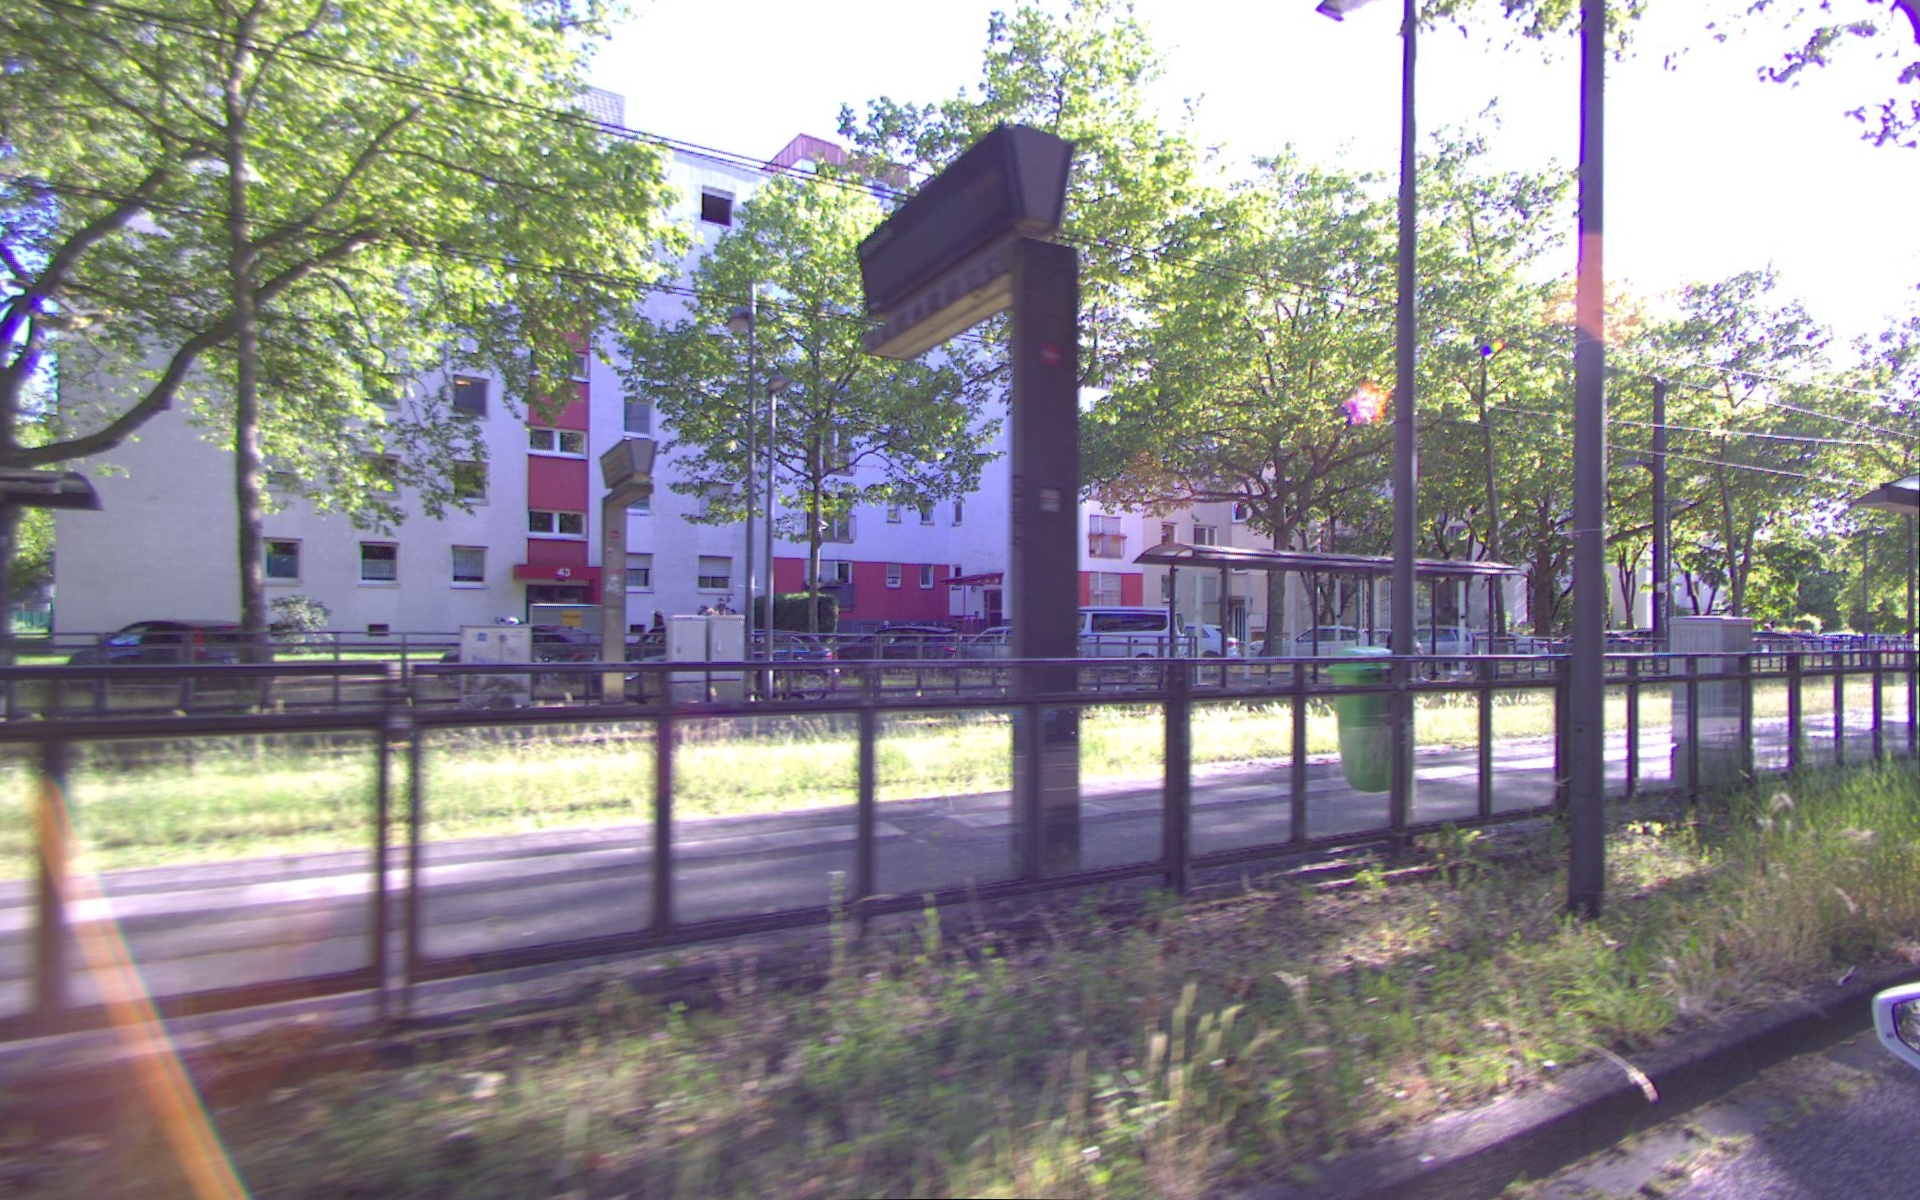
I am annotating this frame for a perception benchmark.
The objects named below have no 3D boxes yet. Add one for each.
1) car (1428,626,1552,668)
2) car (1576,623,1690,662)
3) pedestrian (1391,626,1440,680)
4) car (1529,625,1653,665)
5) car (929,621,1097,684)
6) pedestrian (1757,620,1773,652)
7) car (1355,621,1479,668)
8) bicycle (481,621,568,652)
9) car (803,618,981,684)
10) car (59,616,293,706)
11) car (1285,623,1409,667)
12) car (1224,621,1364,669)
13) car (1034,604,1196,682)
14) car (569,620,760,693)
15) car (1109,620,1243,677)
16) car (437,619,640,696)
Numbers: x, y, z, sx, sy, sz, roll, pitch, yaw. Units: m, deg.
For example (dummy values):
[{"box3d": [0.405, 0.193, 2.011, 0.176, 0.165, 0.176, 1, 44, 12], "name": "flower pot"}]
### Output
[{"box3d": [20.629, 1.811, 39.209, 3.977, 1.493, 1.577, 0, 0, 12], "name": "car"}, {"box3d": [29.874, 1.869, 44.720, 3.914, 1.565, 1.646, 0, 0, 19], "name": "car"}, {"box3d": [9.894, 1.163, 21.825, 0.654, 1.141, 0.692, 1, -4, -29], "name": "pedestrian"}, {"box3d": [26.647, 1.878, 42.525, 4.091, 1.565, 1.647, 0, 0, 12], "name": "car"}, {"box3d": [1.512, 1.426, 28.386, 4.411, 1.518, 1.900, 1, 1, 19], "name": "car"}, {"box3d": [46.706, 2.101, 58.254, 0.709, 1.816, 0.473, 1, 0, -31], "name": "pedestrian"}, {"box3d": [17.119, 1.649, 37.791, 3.977, 1.590, 1.576, 0, 1, 12], "name": "car"}, {"box3d": [-14.426, 1.184, 33.299, 2.568, 0.940, 0.691, 0, 1, -34], "name": "bicycle"}, {"box3d": [-1.817, 1.330, 27.086, 4.411, 1.518, 1.900, 1, 1, 19], "name": "car"}, {"box3d": [-14.987, 1.096, 19.199, 4.118, 1.447, 1.699, 1, 1, 22], "name": "car"}, {"box3d": [13.956, 1.605, 36.427, 3.977, 1.452, 1.577, 0, 0, 12], "name": "car"}, {"box3d": [11.513, 1.529, 34.923, 4.409, 1.524, 1.901, 0, 0, 12], "name": "car"}, {"box3d": [4.596, 1.202, 29.719, 4.413, 2.091, 1.899, 1, 1, 22], "name": "car"}, {"box3d": [-6.909, 1.271, 23.503, 4.118, 1.447, 1.699, 1, 1, 22], "name": "car"}, {"box3d": [6.791, 1.491, 31.499, 3.979, 1.632, 1.690, 0, 0, 17], "name": "car"}, {"box3d": [-9.272, 1.200, 22.082, 4.118, 1.447, 1.699, 1, 1, 22], "name": "car"}]
